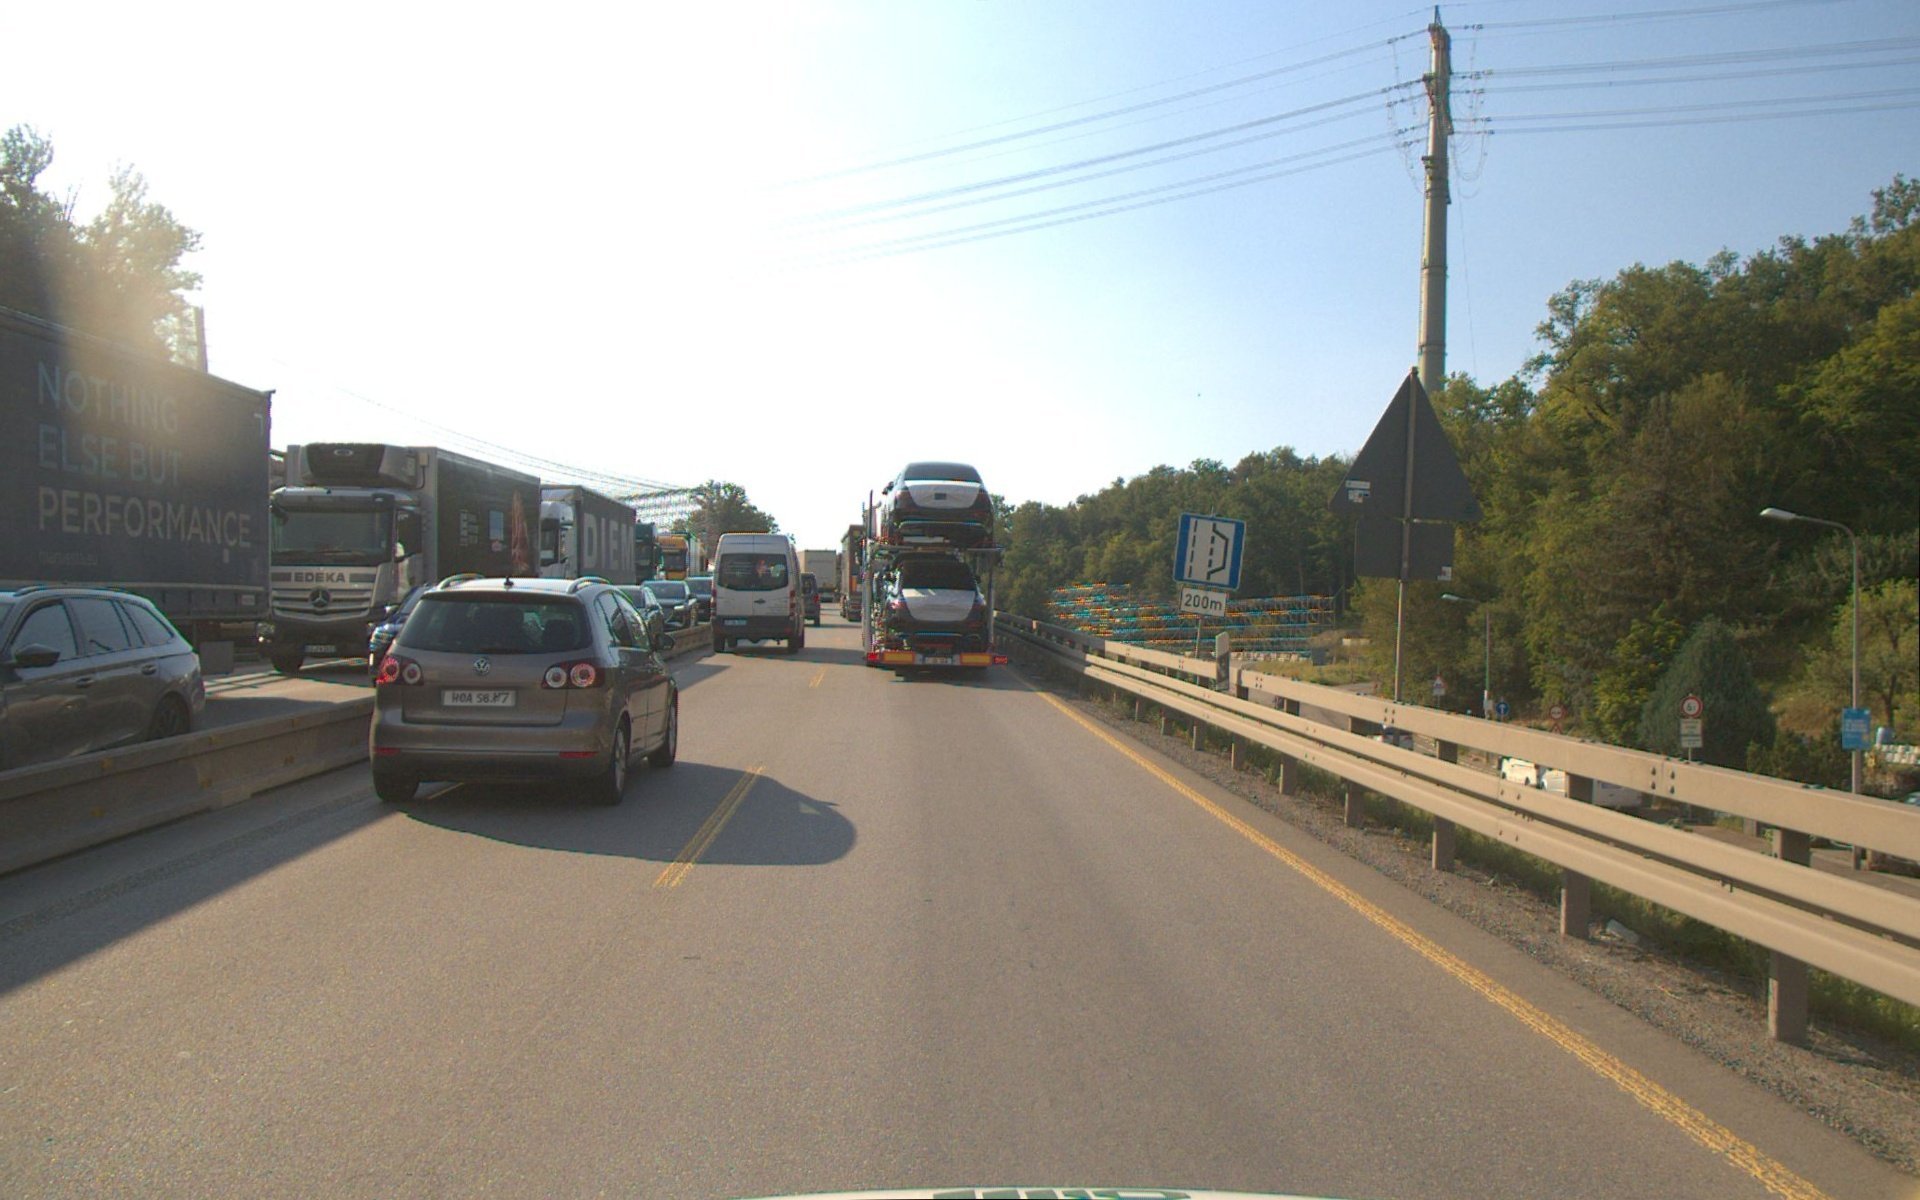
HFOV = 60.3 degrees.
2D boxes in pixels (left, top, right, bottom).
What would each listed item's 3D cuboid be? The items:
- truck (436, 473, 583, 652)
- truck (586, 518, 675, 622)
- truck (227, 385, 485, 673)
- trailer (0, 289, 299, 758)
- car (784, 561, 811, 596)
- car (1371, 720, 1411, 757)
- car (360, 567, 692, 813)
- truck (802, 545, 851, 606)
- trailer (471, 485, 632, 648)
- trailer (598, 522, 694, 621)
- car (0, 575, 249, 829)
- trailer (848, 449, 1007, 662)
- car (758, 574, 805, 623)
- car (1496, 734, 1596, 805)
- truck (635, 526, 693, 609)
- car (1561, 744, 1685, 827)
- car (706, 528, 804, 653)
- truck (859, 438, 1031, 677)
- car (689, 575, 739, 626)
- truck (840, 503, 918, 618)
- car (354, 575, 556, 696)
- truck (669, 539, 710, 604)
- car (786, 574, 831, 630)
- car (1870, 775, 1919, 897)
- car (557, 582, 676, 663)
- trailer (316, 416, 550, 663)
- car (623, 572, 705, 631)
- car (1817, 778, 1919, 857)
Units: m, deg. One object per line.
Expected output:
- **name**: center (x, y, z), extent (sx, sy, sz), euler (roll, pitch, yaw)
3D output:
- **truck**: center (-11.138, -0.892, 41.347), extent (2.696, 4.187, 5.025), euler (-1, 0, -6)
- **truck**: center (-12.963, -1.132, 65.532), extent (2.696, 3.872, 7.103), euler (-1, 0, -6)
- **truck**: center (-10.423, -1.132, 29.110), extent (2.862, 4.593, 5.024), euler (1, 0, -3)
- **trailer**: center (-10.139, -0.697, 15.603), extent (2.720, 4.277, 13.826), euler (0, 0, -2)
- **car**: center (-10.083, -1.300, 102.906), extent (1.498, 2.049, 3.996), euler (3, -1, -5)
- **car**: center (20.824, 6.678, 80.074), extent (1.493, 1.486, 4.271), euler (0, 0, 10)
- **car**: center (-3.194, 0.604, 12.990), extent (1.667, 1.615, 4.145), euler (0, 0, -2)
- **truck**: center (-10.841, -2.033, 135.250), extent (3.576, 4.758, 11.688), euler (1, 1, -3)
- **trailer**: center (-11.830, -0.898, 49.168), extent (2.662, 4.195, 12.479), euler (-1, 0, -5)
- **trailer**: center (-13.732, -1.163, 73.669), extent (2.696, 3.882, 16.028), euler (-1, 0, -5)
- **car**: center (-6.509, 0.592, 10.856), extent (1.739, 1.482, 4.812), euler (2, -1, -3)
- **trailer**: center (-1.134, -0.803, 39.331), extent (2.818, 4.064, 15.263), euler (0, 0, -5)
- **car**: center (-7.589, -0.021, 70.661), extent (1.797, 1.998, 4.894), euler (0, -1, -5)
- **car**: center (19.422, 5.569, 55.026), extent (1.823, 2.021, 5.053), euler (0, -2, 4)
- **truck**: center (-15.479, -1.618, 86.852), extent (2.650, 4.213, 5.785), euler (0, 0, -7)
- **car**: center (18.522, 5.135, 46.428), extent (1.953, 1.951, 4.866), euler (0, -2, 6)
- **car**: center (-4.692, -0.199, 38.438), extent (1.940, 2.731, 4.144), euler (0, 0, -3)
- **truck**: center (-0.422, -0.704, 31.035), extent (2.814, 4.049, 5.765), euler (0, 0, -5)
- **car**: center (-10.179, 0.036, 68.684), extent (1.789, 1.967, 5.122), euler (-2, 0, -7)
- **truck**: center (-3.750, -1.748, 74.767), extent (3.164, 4.758, 11.687), euler (1, 1, -4)
- **car**: center (-7.312, 0.518, 24.395), extent (1.731, 1.578, 4.476), euler (2, -1, -3)
- **truck**: center (-18.337, -1.895, 112.376), extent (2.643, 4.270, 4.389), euler (0, -1, -9)
- **car**: center (-5.870, 0.096, 64.317), extent (1.498, 2.049, 3.997), euler (3, -1, -3)
- **car**: center (22.083, 4.949, 34.231), extent (5.352, 2.304, 2.000), euler (2, -2, 3)
- **car**: center (-7.719, 0.518, 37.606), extent (1.825, 1.614, 4.743), euler (4, -1, -3)
- **trailer**: center (-10.700, -1.120, 34.409), extent (2.853, 4.543, 7.147), euler (1, 0, -3)
- **car**: center (-8.752, 0.050, 49.270), extent (1.840, 1.633, 5.364), euler (-1, 0, -4)
- **car**: center (22.656, 5.029, 38.005), extent (4.984, 1.584, 1.716), euler (1, -2, 3)
